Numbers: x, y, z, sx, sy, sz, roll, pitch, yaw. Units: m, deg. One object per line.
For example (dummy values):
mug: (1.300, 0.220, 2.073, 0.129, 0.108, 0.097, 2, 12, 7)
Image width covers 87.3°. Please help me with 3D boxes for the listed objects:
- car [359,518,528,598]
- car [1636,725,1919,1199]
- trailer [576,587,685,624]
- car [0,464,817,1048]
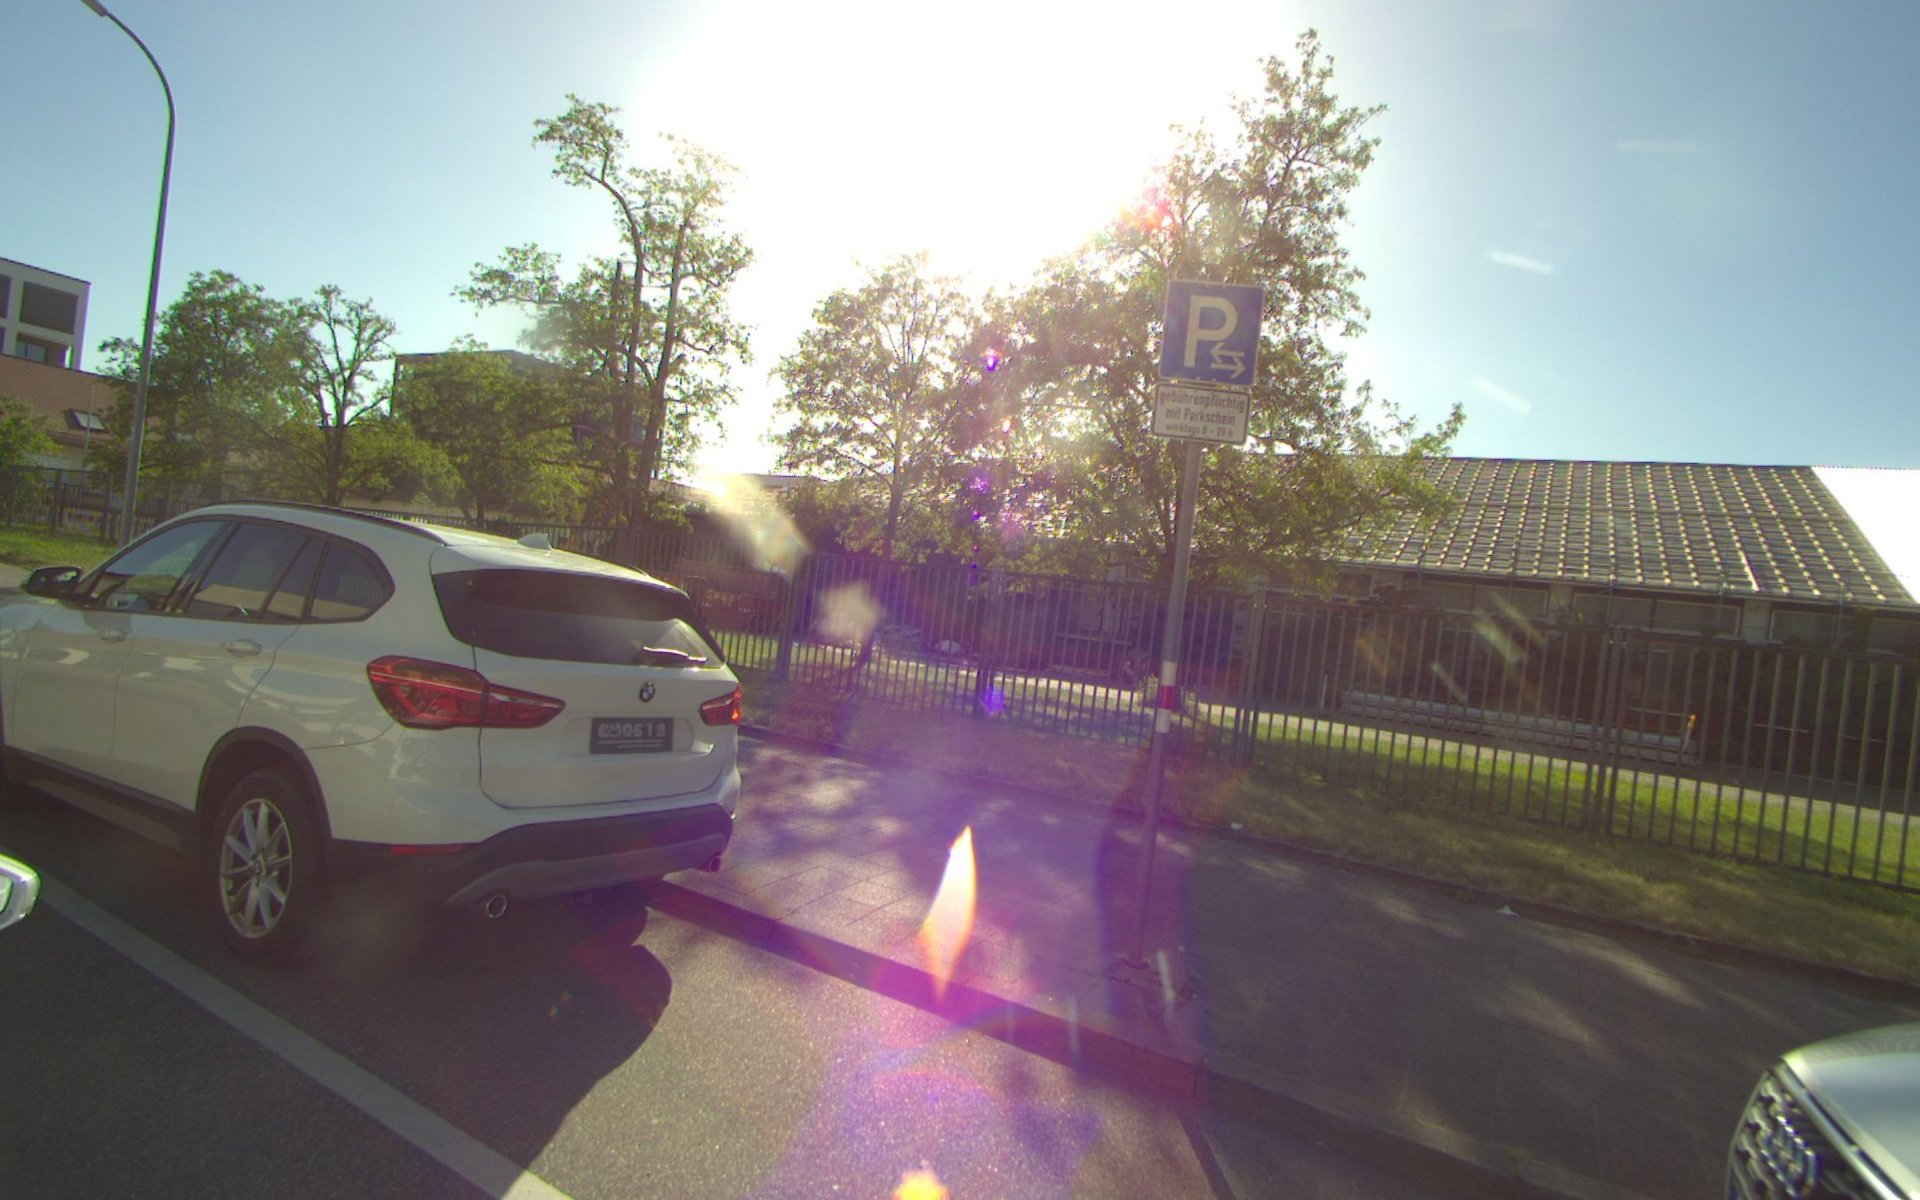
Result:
car: (-19.813, -1.561, 38.830, 1.969, 2.228, 5.286, 8, 0, 36)
car: (3.201, 1.209, 1.013, 3.911, 1.504, 1.705, 7, -2, 28)
trailer: (-13.907, 0.204, 42.365, 5.034, 0.930, 1.897, 7, -1, 39)
car: (-3.000, 0.400, 4.814, 4.189, 1.606, 1.818, 7, -2, 29)
